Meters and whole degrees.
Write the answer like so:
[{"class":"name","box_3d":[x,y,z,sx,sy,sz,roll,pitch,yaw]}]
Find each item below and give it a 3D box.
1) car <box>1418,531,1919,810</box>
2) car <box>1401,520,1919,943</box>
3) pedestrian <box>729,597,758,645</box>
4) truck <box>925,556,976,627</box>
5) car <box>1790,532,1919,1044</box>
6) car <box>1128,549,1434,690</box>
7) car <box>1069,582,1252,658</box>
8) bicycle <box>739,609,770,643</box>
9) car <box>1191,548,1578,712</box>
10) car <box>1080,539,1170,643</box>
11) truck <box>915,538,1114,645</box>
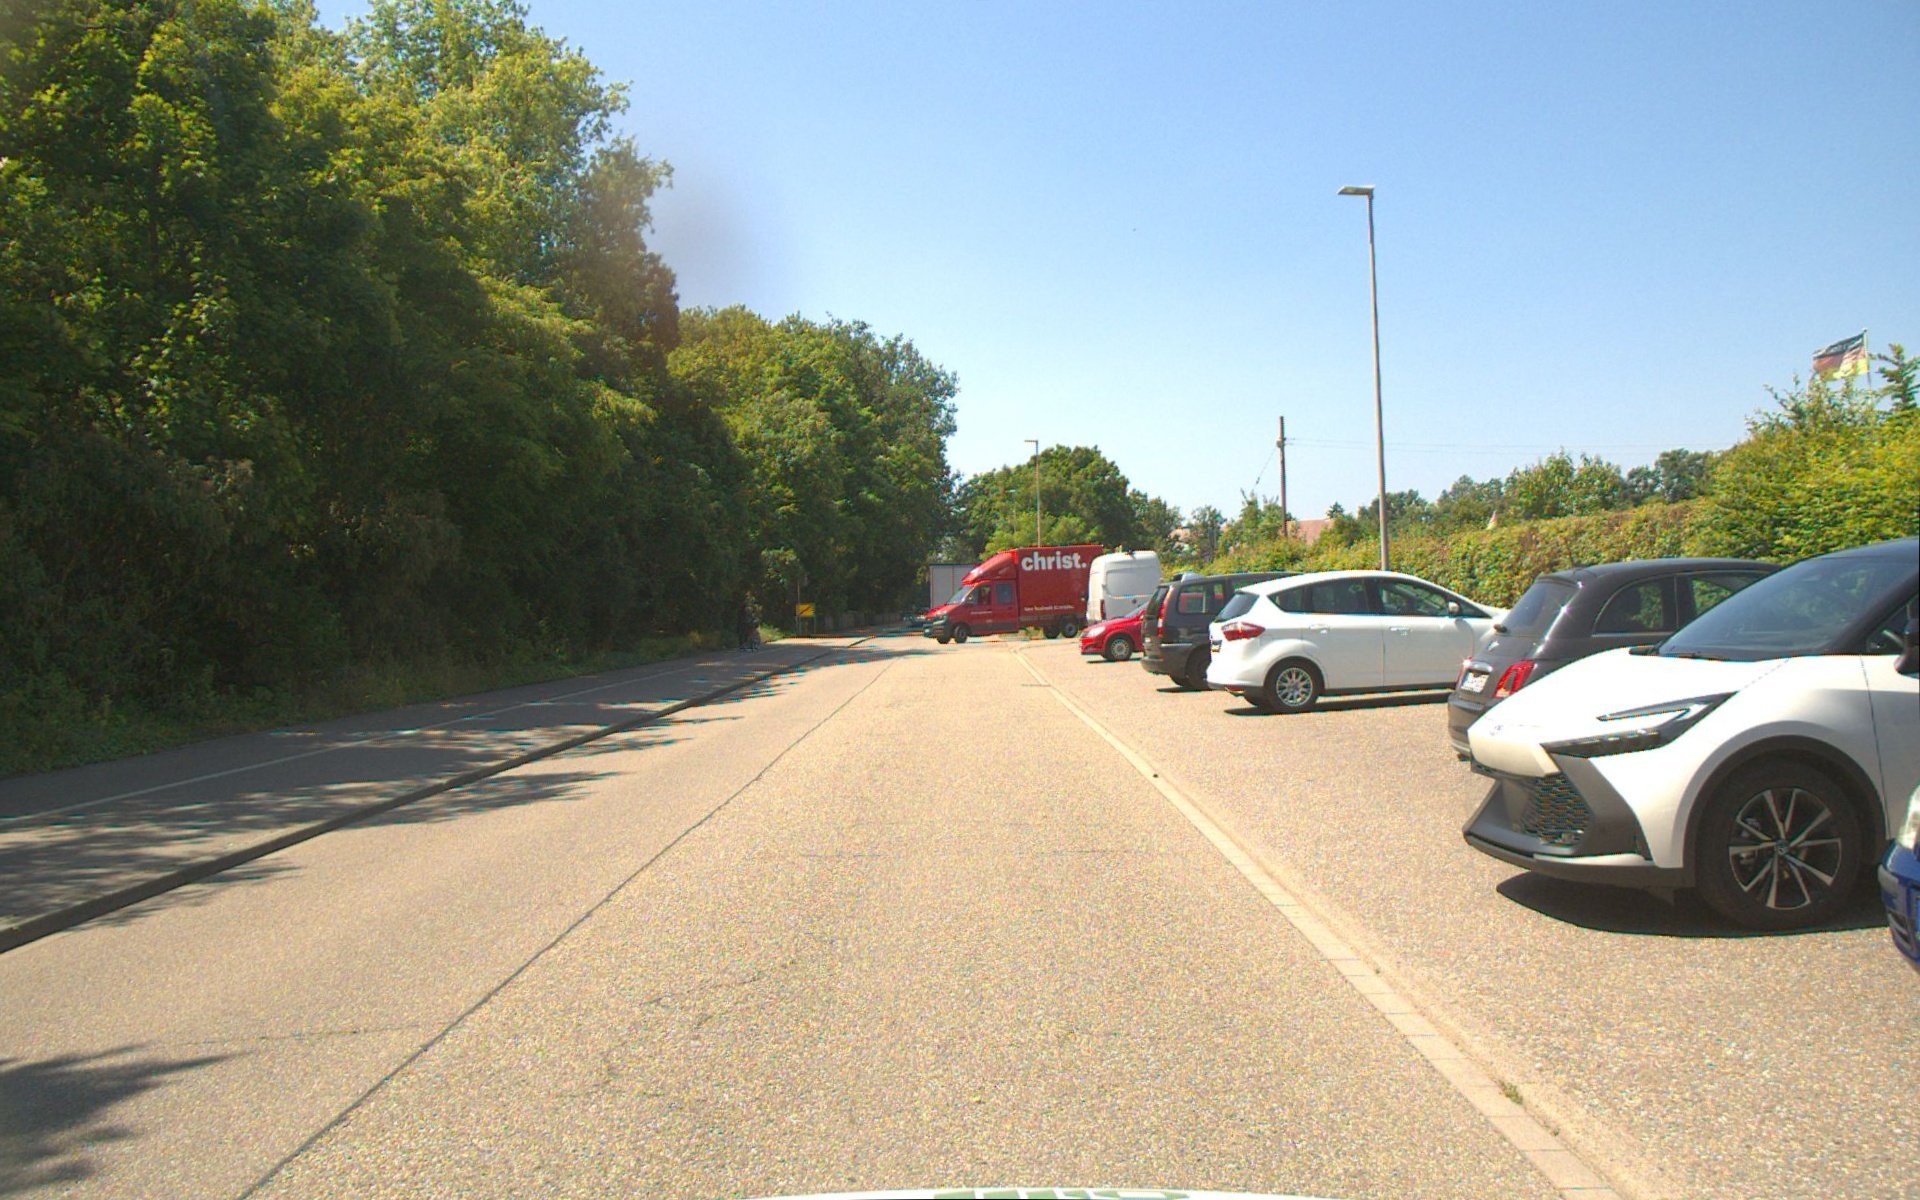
[{"class":"car","box_3d":[4.943,0.413,10.988,3.317,1.530,1.588,-4,0,3]},{"class":"car","box_3d":[4.360,0.432,7.842,3.888,1.549,1.862,-6,0,-6]},{"class":"pedestrian","box_3d":[-8.050,0.781,61.503,0.791,1.748,0.777,-1,0,15]},{"class":"truck","box_3d":[-0.446,-0.434,95.490,2.677,3.811,13.245,-1,0,0]},{"class":"car","box_3d":[4.582,0.422,4.926,3.387,1.553,1.538,-6,0,-6]},{"class":"car","box_3d":[5.071,0.305,26.511,4.367,1.836,1.951,-4,-1,-5]},{"class":"car","box_3d":[4.726,0.472,39.368,3.974,1.459,1.834,-4,0,-3]},{"class":"bicycle","box_3d":[-7.648,0.967,61.601,0.510,1.258,1.962,0,-1,12]},{"class":"car","box_3d":[5.124,0.349,20.307,4.191,1.605,1.764,-4,0,-3]},{"class":"car","box_3d":[4.870,-0.273,49.885,1.914,2.780,7.168,-4,0,1]},{"class":"truck","box_3d":[2.061,-0.366,62.758,7.027,3.499,2.319,-4,2,-18]}]
